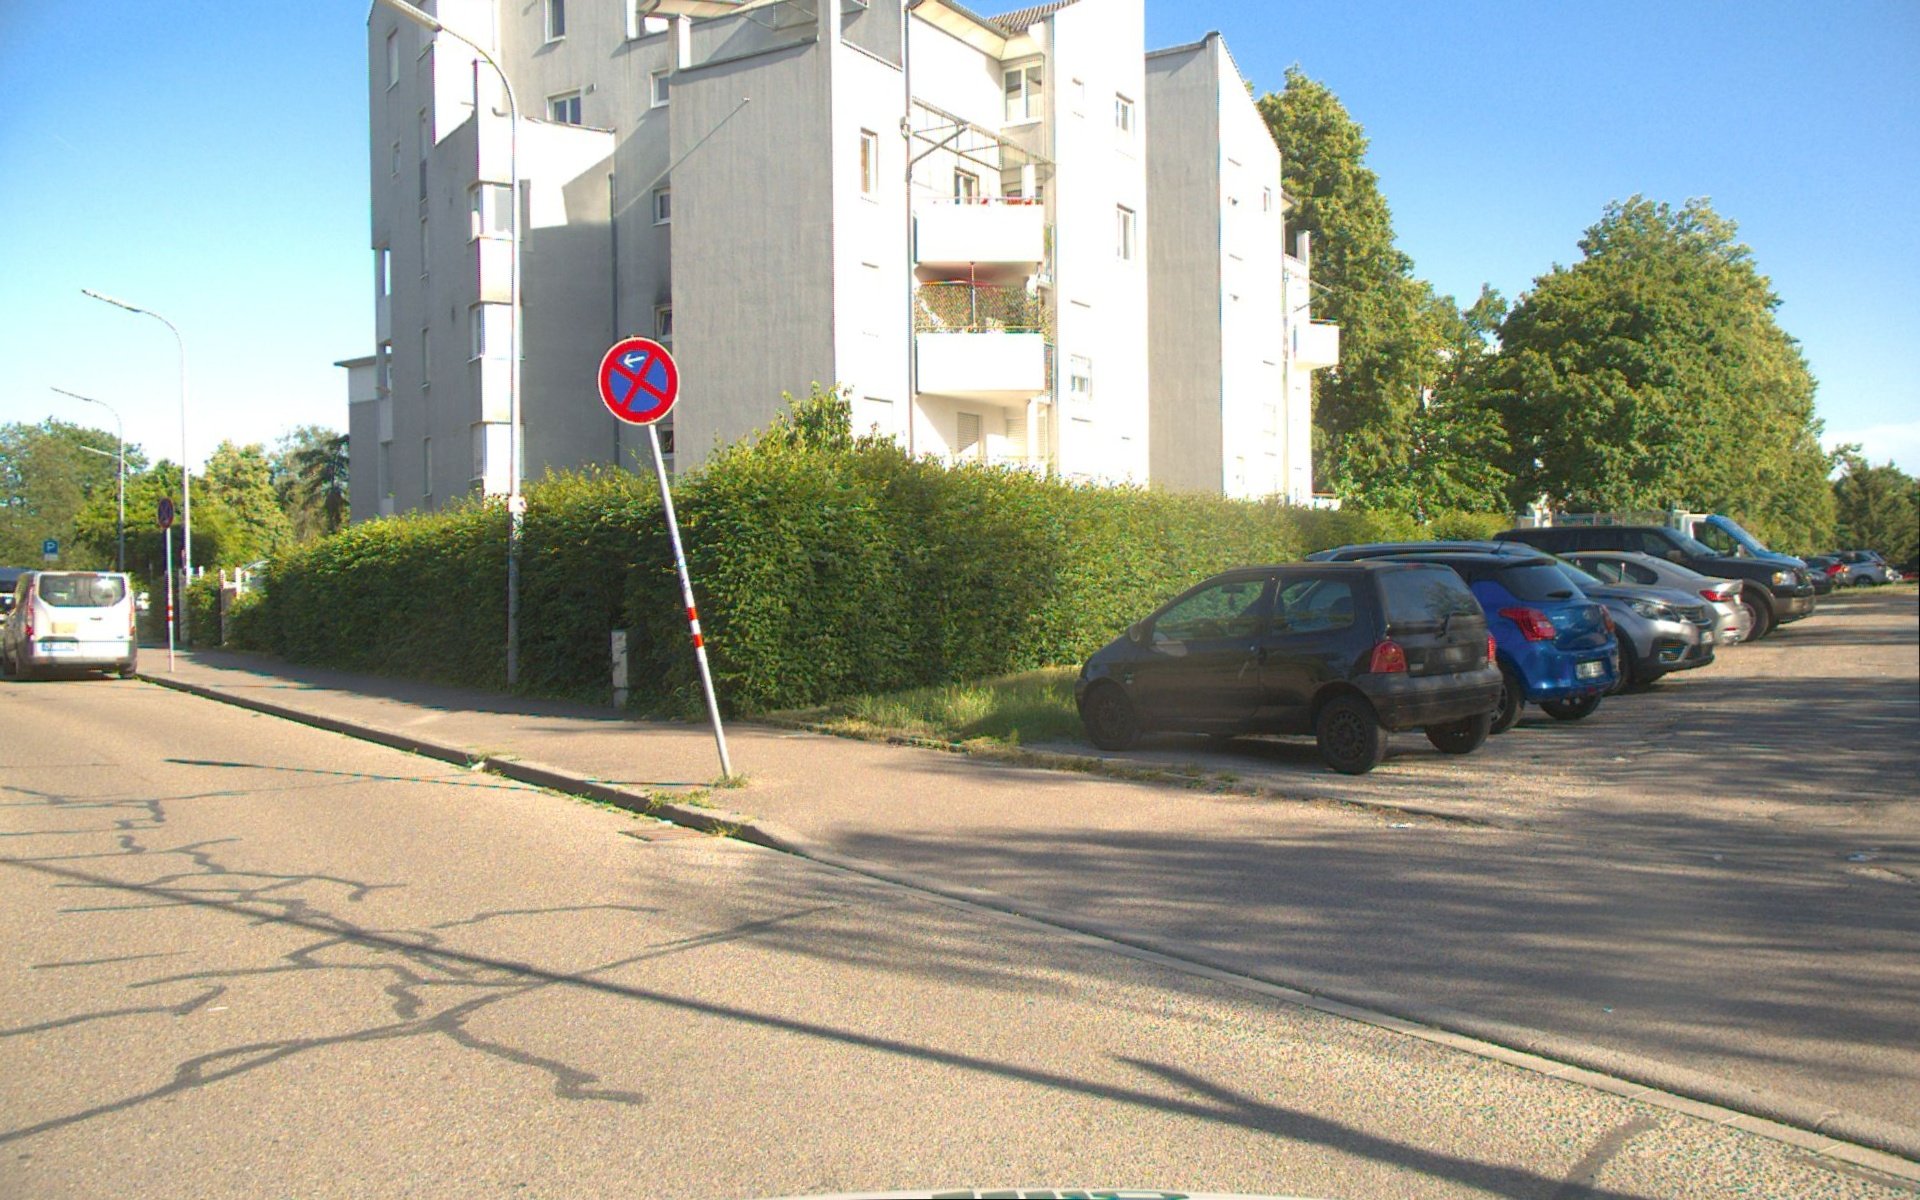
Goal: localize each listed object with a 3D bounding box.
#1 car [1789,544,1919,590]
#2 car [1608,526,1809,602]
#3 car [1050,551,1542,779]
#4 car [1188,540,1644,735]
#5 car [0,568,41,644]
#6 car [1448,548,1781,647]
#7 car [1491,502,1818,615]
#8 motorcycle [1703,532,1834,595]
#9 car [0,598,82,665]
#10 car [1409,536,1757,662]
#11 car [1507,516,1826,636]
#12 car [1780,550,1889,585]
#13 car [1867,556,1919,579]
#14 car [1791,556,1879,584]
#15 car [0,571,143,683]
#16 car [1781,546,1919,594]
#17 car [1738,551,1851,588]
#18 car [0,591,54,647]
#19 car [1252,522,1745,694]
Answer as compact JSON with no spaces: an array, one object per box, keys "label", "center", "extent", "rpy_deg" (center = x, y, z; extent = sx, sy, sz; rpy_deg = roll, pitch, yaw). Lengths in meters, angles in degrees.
[{"label":"car","center":[28.245,-1.024,51.890],"extent":[3.868,1.357,1.843],"rpy_deg":[-1,1,32]},{"label":"car","center":[19.087,-0.905,42.242],"extent":[4.442,1.801,1.842],"rpy_deg":[-1,1,33]},{"label":"car","center":[2.521,0.410,12.948],"extent":[1.689,1.492,3.481],"rpy_deg":[-3,2,-41]},{"label":"car","center":[4.031,0.302,14.963],"extent":[1.639,1.522,3.631],"rpy_deg":[-3,1,-45]},{"label":"car","center":[-33.236,0.219,57.633],"extent":[2.082,2.530,5.797],"rpy_deg":[1,-1,-29]},{"label":"car","center":[9.791,-0.045,24.865],"extent":[4.374,1.358,1.841],"rpy_deg":[-1,1,35]},{"label":"car","center":[14.710,-0.834,35.156],"extent":[6.140,2.184,2.406],"rpy_deg":[-1,1,30]},{"label":"motorcycle","center":[22.101,-0.987,45.260],"extent":[3.135,1.624,0.920],"rpy_deg":[-1,1,34]},{"label":"car","center":[-22.706,0.733,40.394],"extent":[1.892,1.514,4.326],"rpy_deg":[-1,0,-32]},{"label":"car","center":[8.174,0.012,21.794],"extent":[4.066,1.480,1.616],"rpy_deg":[-2,0,30]},{"label":"car","center":[11.402,-0.369,26.829],"extent":[4.448,1.801,1.839],"rpy_deg":[0,1,37]},{"label":"car","center":[35.840,-1.323,67.800],"extent":[3.868,1.357,1.843],"rpy_deg":[-1,1,32]},{"label":"car","center":[52.363,-1.805,91.634],"extent":[3.578,1.233,1.843],"rpy_deg":[-1,1,32]},{"label":"car","center":[44.936,-1.537,84.947],"extent":[3.868,1.357,1.843],"rpy_deg":[-1,1,32]},{"label":"car","center":[-17.130,0.480,31.693],"extent":[1.976,1.945,4.894],"rpy_deg":[-1,0,-34]},{"label":"car","center":[26.822,-0.903,49.549],"extent":[3.868,1.357,1.843],"rpy_deg":[-1,1,32]},{"label":"car","center":[33.171,-1.222,65.735],"extent":[3.868,1.357,1.843],"rpy_deg":[-1,1,32]},{"label":"car","center":[-30.408,0.596,53.225],"extent":[1.892,1.695,4.326],"rpy_deg":[-1,0,-32]},{"label":"car","center":[5.892,0.099,18.459],"extent":[4.911,1.683,1.777],"rpy_deg":[-2,1,38]}]
